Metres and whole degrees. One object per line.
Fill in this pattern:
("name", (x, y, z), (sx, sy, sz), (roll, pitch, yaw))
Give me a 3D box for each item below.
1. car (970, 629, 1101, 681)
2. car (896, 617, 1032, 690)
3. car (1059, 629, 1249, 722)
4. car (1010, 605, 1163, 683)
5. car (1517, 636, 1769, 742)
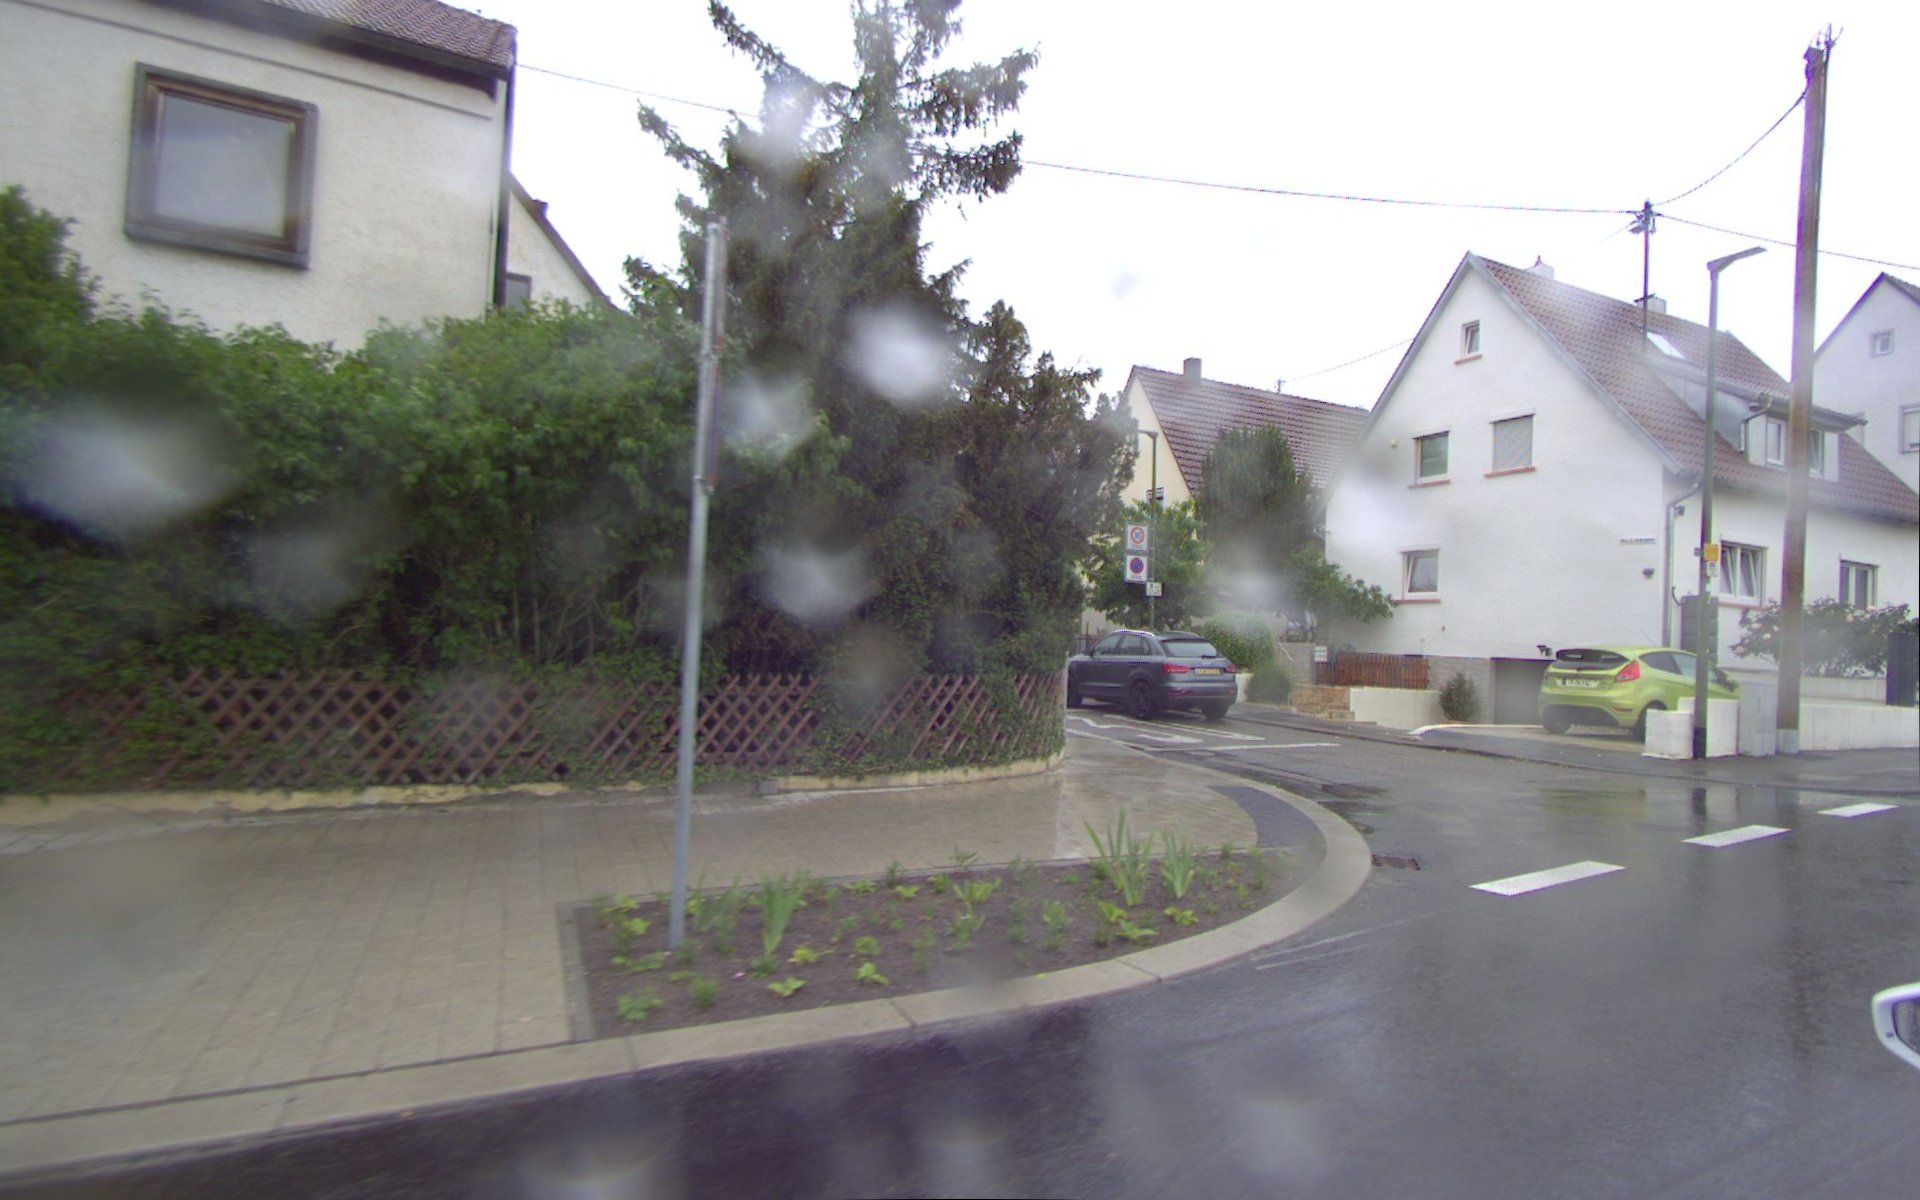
("car", (2.515, 1.829, 33.566), (3.877, 1.598, 2.011), (2, -1, -24))
("car", (0.026, 1.409, 27.185), (1.903, 1.594, 3.985), (7, -3, -28))
("car", (3.566, 1.349, 19.189), (1.759, 1.486, 3.835), (1, -1, -22))
("car", (3.652, 1.266, 29.027), (3.880, 2.040, 2.001), (3, 0, -25))
("car", (10.918, 1.422, 16.072), (3.409, 1.486, 1.775), (4, -2, -23))
